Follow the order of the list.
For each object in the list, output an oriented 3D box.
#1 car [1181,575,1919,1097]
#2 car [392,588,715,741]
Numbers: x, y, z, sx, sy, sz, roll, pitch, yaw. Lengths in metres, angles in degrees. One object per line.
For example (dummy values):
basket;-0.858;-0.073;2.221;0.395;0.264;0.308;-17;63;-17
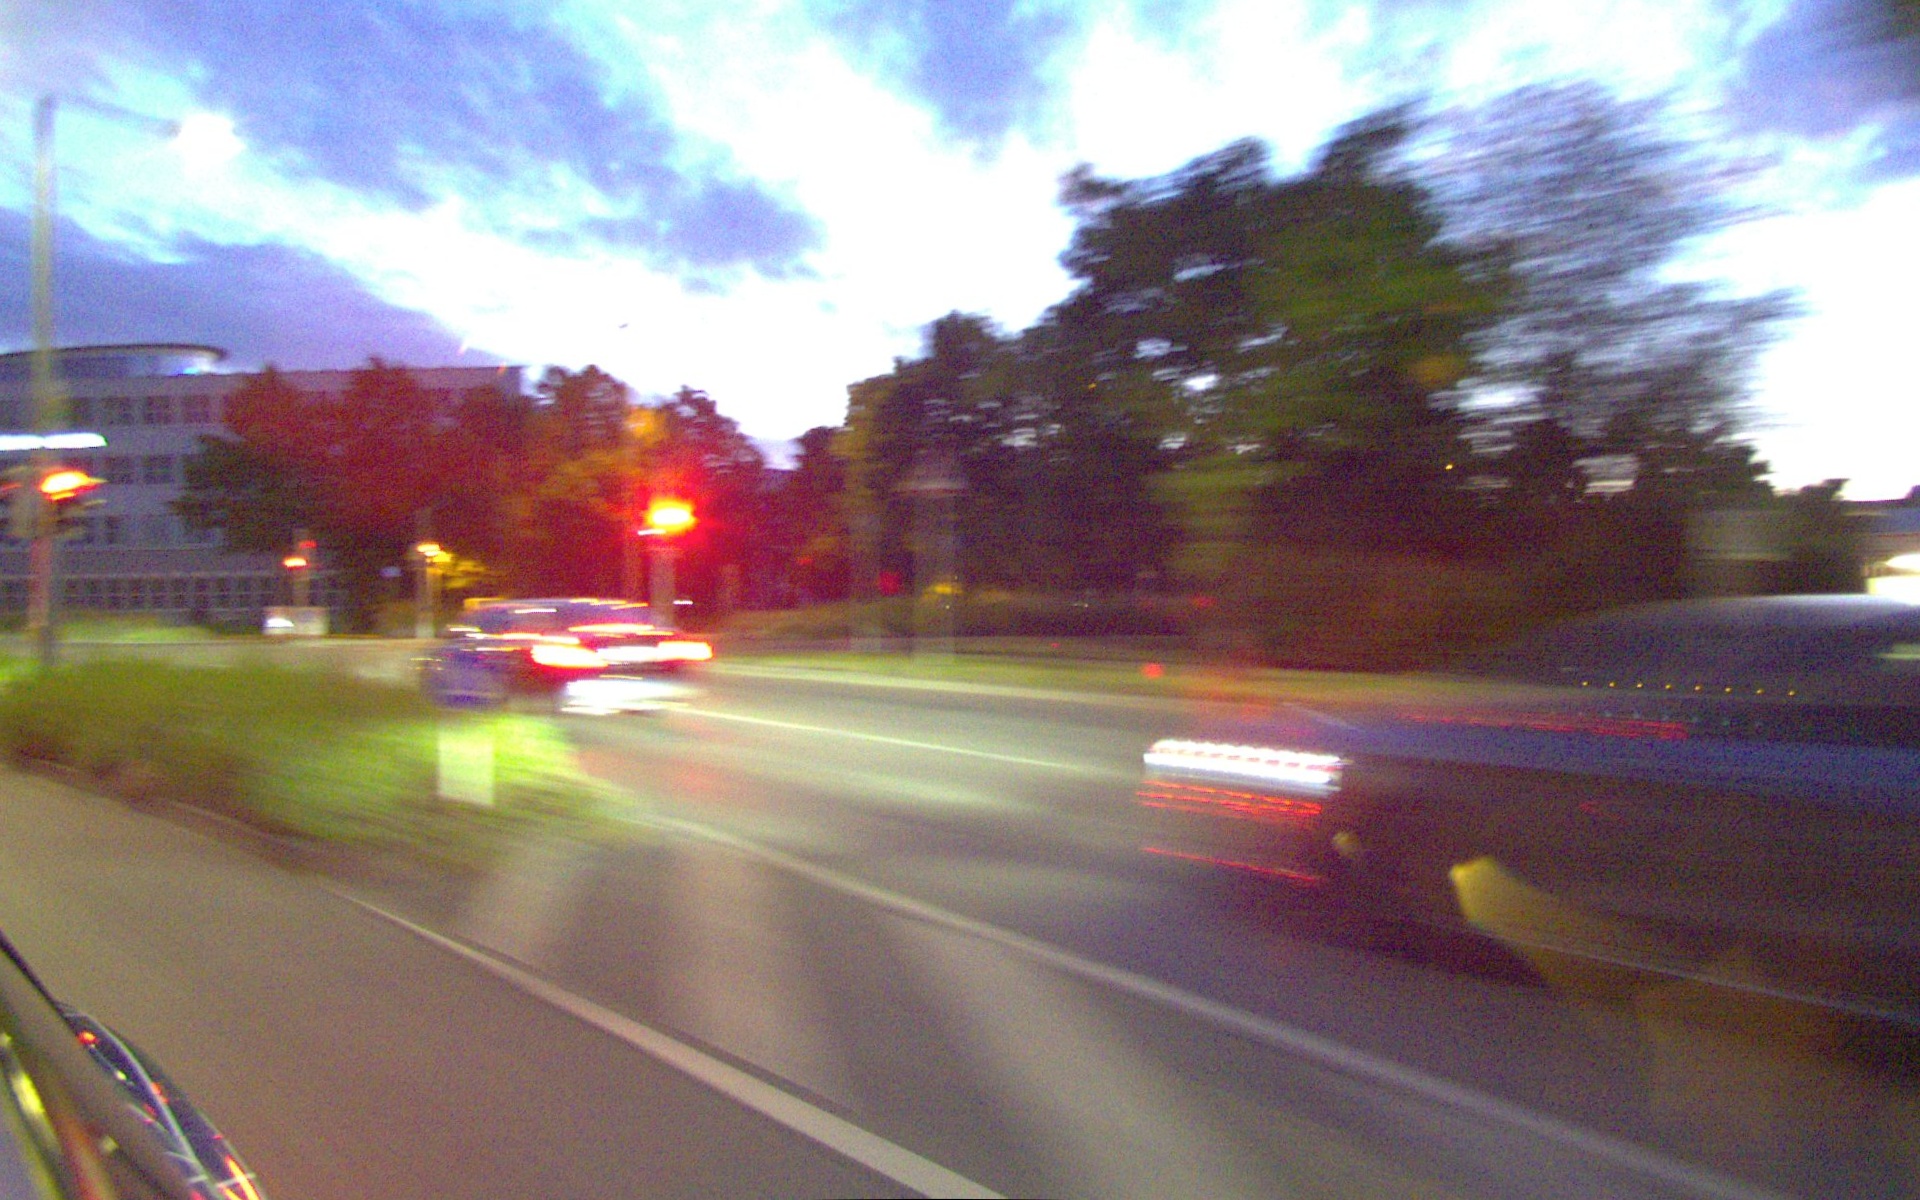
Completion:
car;3.153;0.638;3.427;1.737;1.414;4.594;0;0;-40
car;-4.915;0.616;11.890;4.527;1.456;1.740;0;1;43
